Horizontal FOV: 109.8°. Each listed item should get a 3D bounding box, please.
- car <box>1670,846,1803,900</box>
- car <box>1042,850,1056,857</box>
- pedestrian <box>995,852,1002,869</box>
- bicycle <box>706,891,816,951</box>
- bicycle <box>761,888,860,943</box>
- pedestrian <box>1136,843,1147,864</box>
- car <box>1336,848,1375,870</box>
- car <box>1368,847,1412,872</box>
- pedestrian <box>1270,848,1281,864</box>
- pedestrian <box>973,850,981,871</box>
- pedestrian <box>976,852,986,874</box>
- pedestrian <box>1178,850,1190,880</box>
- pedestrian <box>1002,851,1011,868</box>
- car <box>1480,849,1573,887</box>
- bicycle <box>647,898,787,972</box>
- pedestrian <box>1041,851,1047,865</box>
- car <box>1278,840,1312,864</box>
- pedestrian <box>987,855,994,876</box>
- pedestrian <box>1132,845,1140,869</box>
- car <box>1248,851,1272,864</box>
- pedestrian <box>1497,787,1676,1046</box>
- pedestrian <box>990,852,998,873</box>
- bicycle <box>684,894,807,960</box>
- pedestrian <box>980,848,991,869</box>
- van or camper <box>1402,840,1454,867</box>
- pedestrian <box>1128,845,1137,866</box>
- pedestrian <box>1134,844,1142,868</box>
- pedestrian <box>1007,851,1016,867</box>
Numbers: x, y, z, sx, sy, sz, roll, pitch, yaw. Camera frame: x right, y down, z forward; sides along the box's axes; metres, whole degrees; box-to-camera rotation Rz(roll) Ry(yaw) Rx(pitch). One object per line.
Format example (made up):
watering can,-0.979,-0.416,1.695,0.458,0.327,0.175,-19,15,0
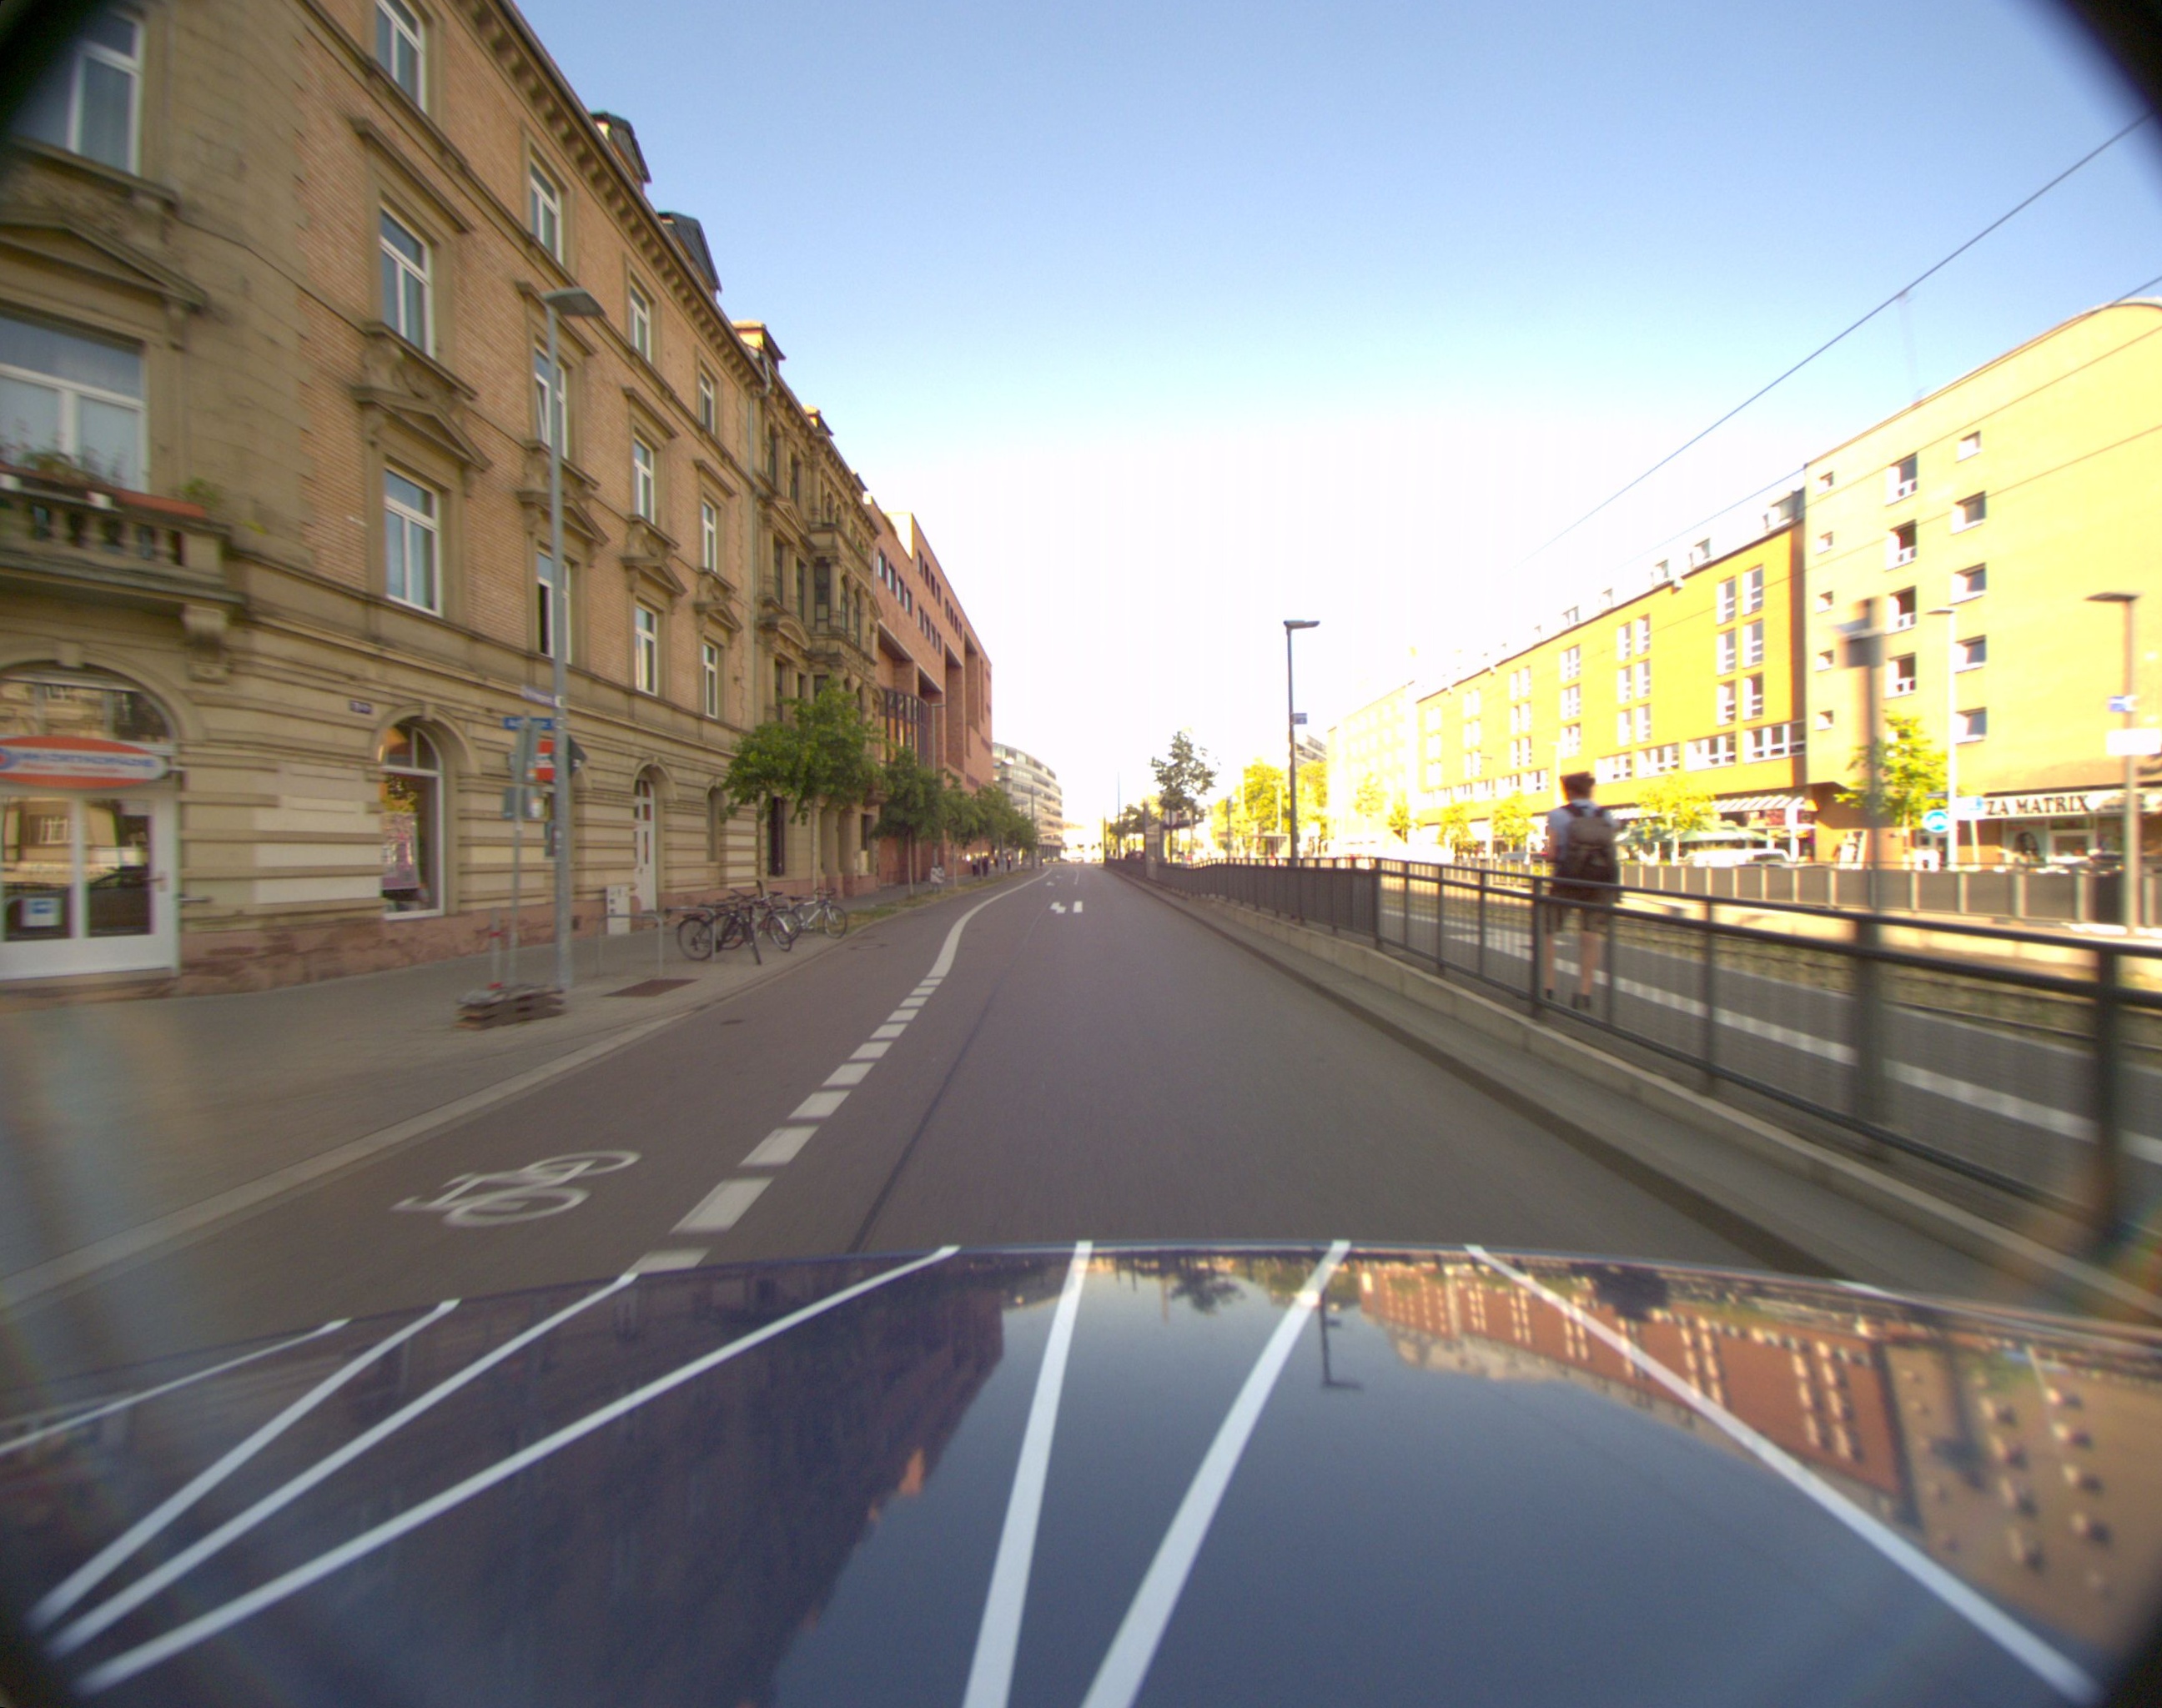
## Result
car,25.884,0.715,30.222,1.997,2.001,4.149,-1,0,6
car,-7.165,-0.078,171.315,1.901,1.611,4.177,-1,0,15
pedestrian,-8.103,0.639,74.621,0.421,1.746,0.538,0,1,16
bicycle,-6.208,1.292,14.820,1.831,1.058,0.663,2,0,-4
bicycle,-5.736,1.301,16.188,1.831,1.058,0.663,2,0,-4
pedestrian,4.950,-0.058,62.401,0.890,1.662,1.096,-1,1,2
car,24.026,0.444,66.678,1.891,1.856,4.316,-1,0,0
car,23.904,0.421,58.945,1.890,1.856,4.317,-1,0,3
pedestrian,14.848,0.136,58.008,0.674,1.183,0.906,-1,1,0
pedestrian,-8.434,0.520,61.449,0.538,1.746,0.421,-1,1,-14
pedestrian,-8.254,0.725,62.742,0.537,1.746,0.696,-1,1,11
pedestrian,4.782,0.521,35.294,0.430,1.377,0.407,-1,1,-11
pedestrian,-7.528,0.595,77.007,0.639,1.703,0.574,0,1,38
car,21.904,0.636,37.619,1.998,1.707,4.942,-1,0,4
bicycle,-5.686,1.260,11.956,1.831,1.058,0.663,2,0,-4
pedestrian,-4.780,0.520,98.141,0.625,1.692,0.748,-1,1,-15
car,21.261,-0.224,75.684,2.051,2.344,4.919,-1,0,0
pedestrian,-7.361,0.932,61.755,0.538,1.746,0.464,-1,1,-4
pedestrian,3.728,0.204,51.755,0.506,1.669,0.651,-1,1,0
car,21.428,0.434,91.149,1.891,1.523,4.000,-1,0,-1
pedestrian,3.437,0.390,5.240,0.656,1.633,0.867,-1,2,1
pedestrian,-7.284,0.706,63.658,0.538,1.746,0.695,-1,1,-3
bicycle,-5.893,1.276,13.432,1.831,1.058,0.663,2,0,-4
pedestrian,-8.151,0.368,65.015,0.734,1.746,0.696,-1,1,7
van or camper,29.134,0.007,64.068,1.998,2.156,5.617,-1,-1,2
pedestrian,3.869,0.133,57.123,0.674,1.553,0.906,-1,1,0
pedestrian,4.043,0.154,53.818,0.506,1.722,0.651,-1,1,0
pedestrian,-7.094,0.499,77.450,0.702,1.596,0.519,0,1,39
